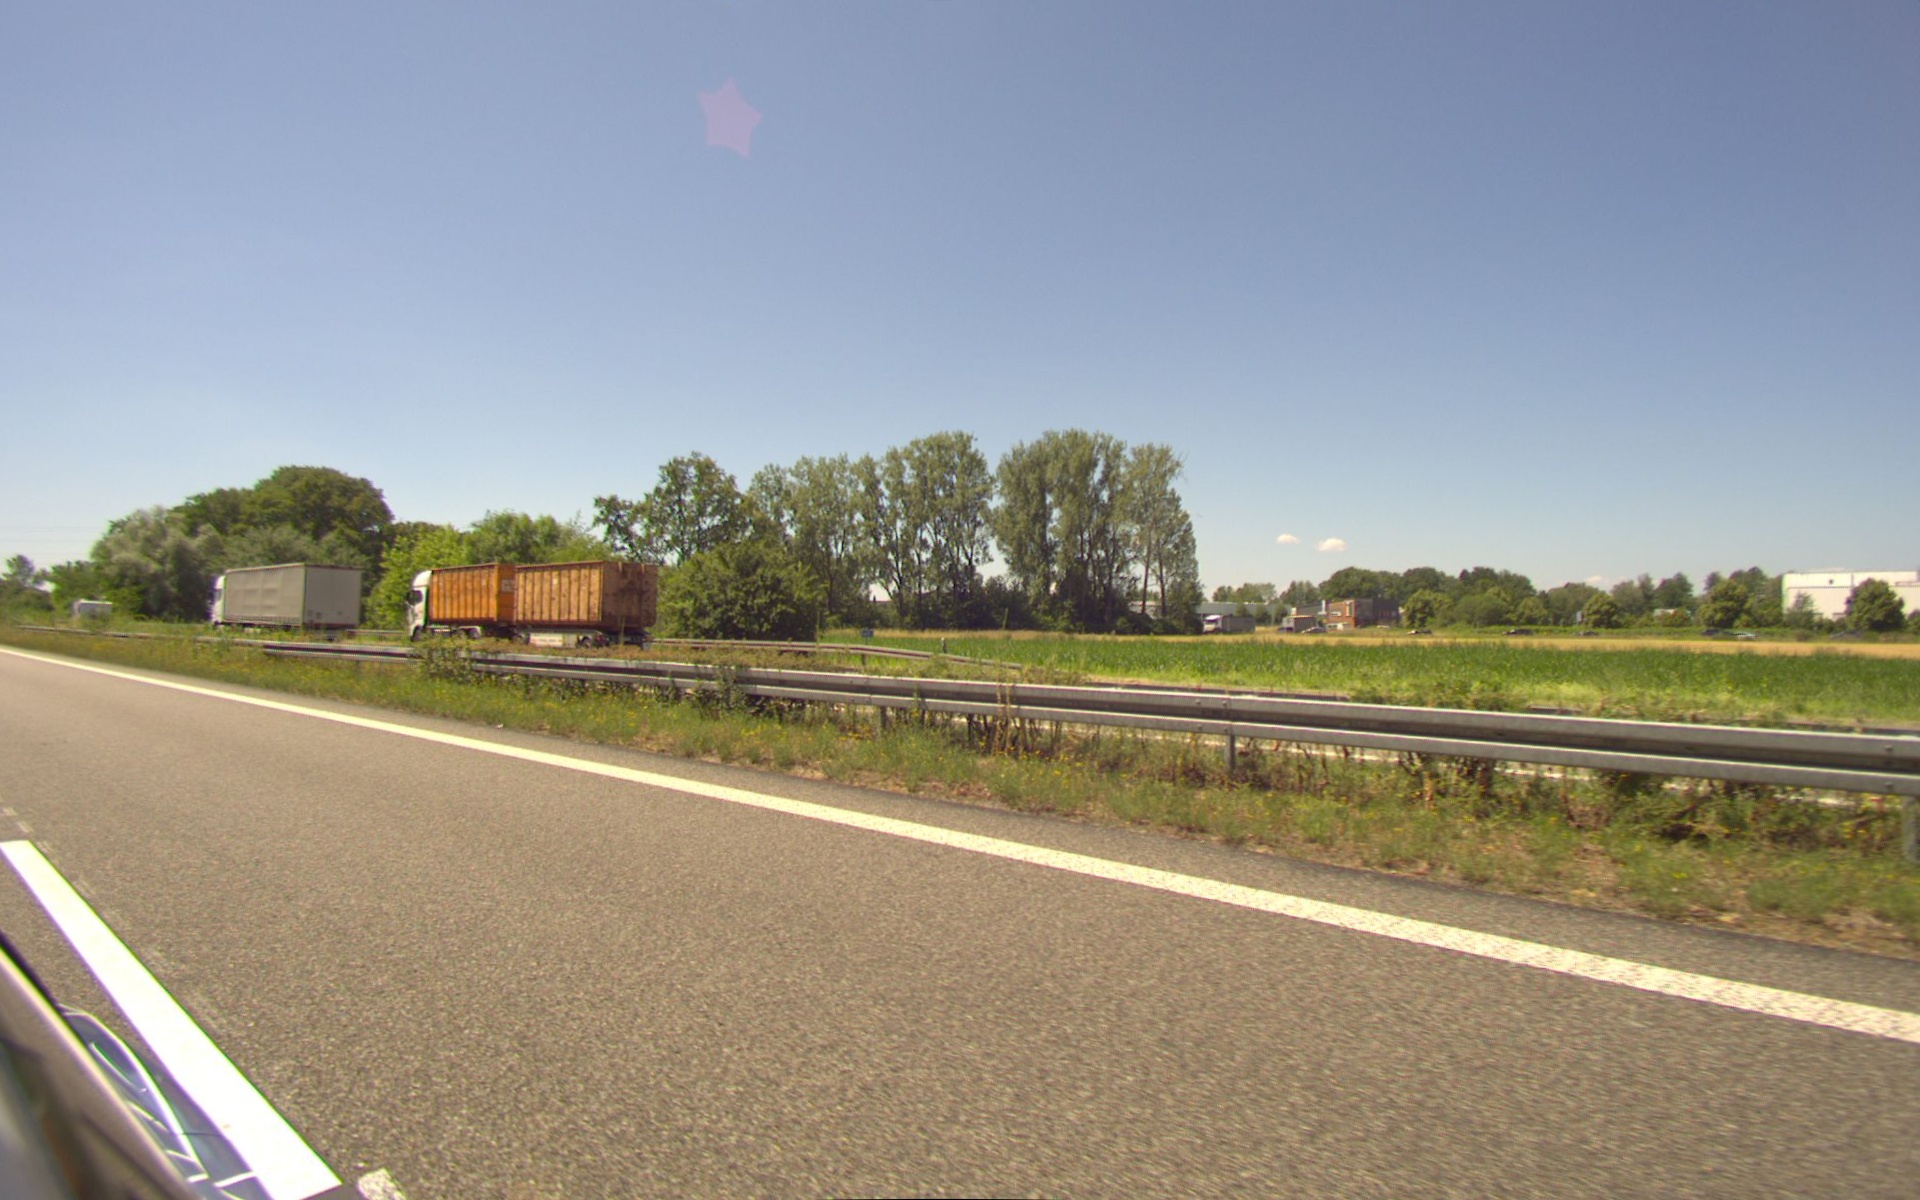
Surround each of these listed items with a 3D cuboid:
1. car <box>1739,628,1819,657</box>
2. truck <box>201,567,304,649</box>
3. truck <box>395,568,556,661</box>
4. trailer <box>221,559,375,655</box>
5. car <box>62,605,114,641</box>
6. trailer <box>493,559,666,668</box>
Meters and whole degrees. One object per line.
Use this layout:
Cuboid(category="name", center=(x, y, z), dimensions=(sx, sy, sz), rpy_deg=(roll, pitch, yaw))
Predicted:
Cuboid(category="car", center=(53.945, 2.783, 66.675), dimensions=(3.999, 1.841, 1.972), rpy_deg=(-1, -3, 42))
Cuboid(category="truck", center=(-40.505, 0.496, 57.859), dimensions=(6.977, 4.460, 3.128), rpy_deg=(-1, -2, 41))
Cuboid(category="truck", center=(-22.913, 0.755, 47.439), dimensions=(10.822, 3.914, 2.621), rpy_deg=(-1, -4, 41))
Cuboid(category="trailer", center=(-34.863, 0.433, 52.926), dimensions=(13.320, 4.456, 3.162), rpy_deg=(-1, -2, 41))
Cuboid(category="car", center=(-76.438, 2.016, 88.669), dimensions=(8.084, 3.005, 2.519), rpy_deg=(-1, -3, 43))
Cuboid(category="trailer", center=(-15.537, 0.614, 40.953), dimensions=(8.657, 3.950, 2.631), rpy_deg=(-1, -4, 41))
